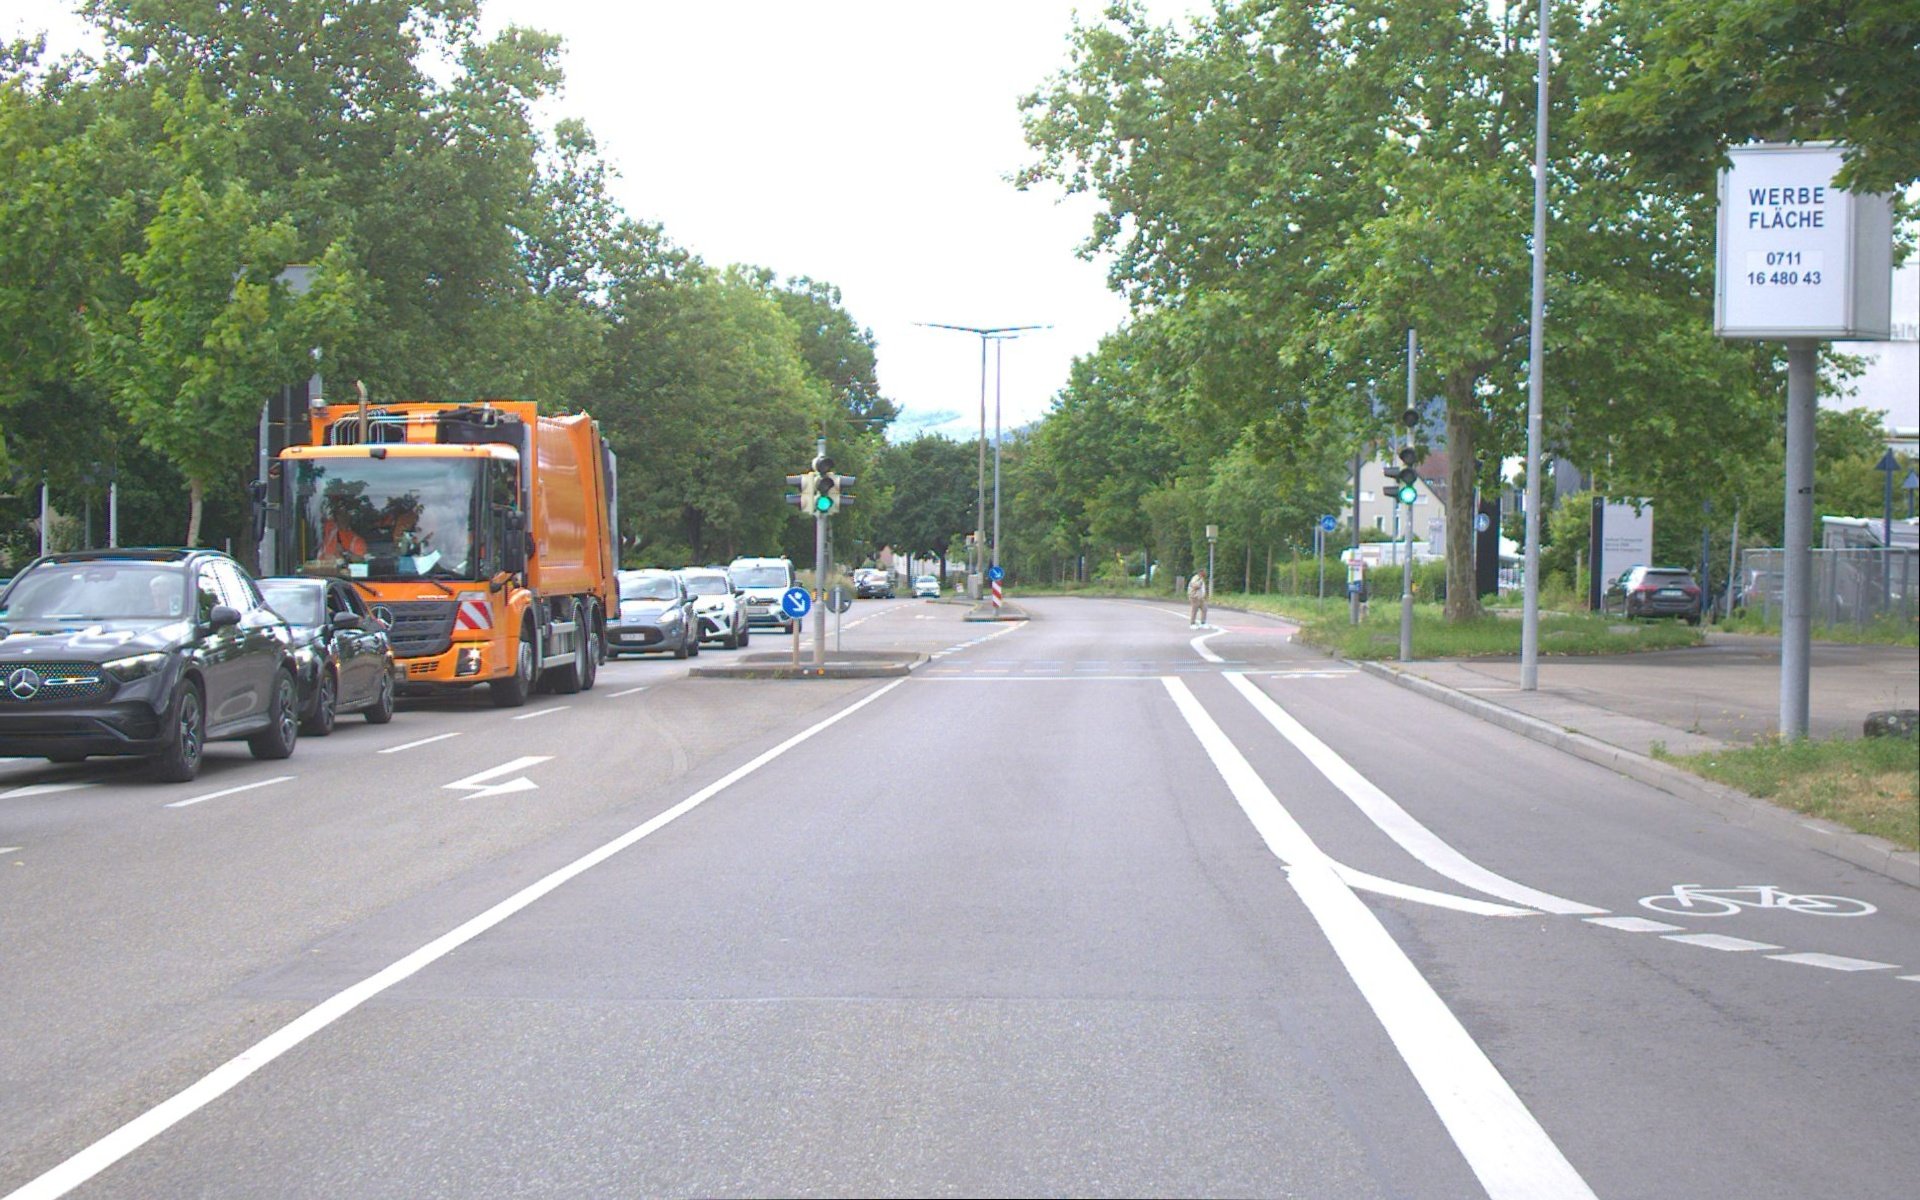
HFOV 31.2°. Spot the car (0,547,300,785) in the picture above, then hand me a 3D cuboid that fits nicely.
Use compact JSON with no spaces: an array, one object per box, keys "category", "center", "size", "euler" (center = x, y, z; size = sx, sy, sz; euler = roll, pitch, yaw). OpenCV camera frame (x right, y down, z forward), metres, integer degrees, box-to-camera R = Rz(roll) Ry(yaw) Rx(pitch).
[{"category":"car","center":[-6.114,0.414,25.276],"size":[1.639,1.580,4.060],"euler":[1,1,1]}]

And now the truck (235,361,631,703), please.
[{"category":"truck","center":[-5.888,-0.781,40.284],"size":[2.706,3.475,9.994],"euler":[1,1,2]}]

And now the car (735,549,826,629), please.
[{"category":"car","center":[-4.247,-0.276,81.879],"size":[1.846,1.797,4.650],"euler":[-1,1,1]}]

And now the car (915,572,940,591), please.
[{"category":"car","center":[-2.299,-1.318,245.099],"size":[1.612,1.300,4.000],"euler":[1,0,2]}]

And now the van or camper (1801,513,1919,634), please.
[{"category":"van or camper","center":[22.744,-0.667,85.401],"size":[1.965,2.858,6.920],"euler":[0,1,0]}]

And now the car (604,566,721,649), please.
[{"category":"car","center":[-4.996,0.103,58.018],"size":[1.547,1.326,3.654],"euler":[-1,1,1]}]

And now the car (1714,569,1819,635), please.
[{"category":"car","center":[19.944,0.032,85.172],"size":[1.711,1.503,4.344],"euler":[2,1,3]}]

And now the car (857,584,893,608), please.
[{"category":"car","center":[-4.745,-0.216,192.076],"size":[1.772,1.300,4.000],"euler":[1,0,2]}]

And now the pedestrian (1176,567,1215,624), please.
[{"category":"pedestrian","center":[6.072,-0.110,88.651],"size":[0.788,1.458,0.749],"euler":[0,0,-17]}]

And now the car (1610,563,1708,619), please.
[{"category":"car","center":[17.290,-0.246,85.185],"size":[1.711,1.349,4.344],"euler":[0,1,3]}]

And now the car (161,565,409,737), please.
[{"category":"car","center":[-6.182,0.425,31.835],"size":[1.434,1.452,3.895],"euler":[1,1,1]}]

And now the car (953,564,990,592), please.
[{"category":"car","center":[0.561,-1.031,162.533],"size":[1.612,1.300,4.000],"euler":[1,0,2]}]

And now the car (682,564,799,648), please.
[{"category":"car","center":[-4.177,0.083,66.097],"size":[1.846,1.515,4.815],"euler":[-1,1,1]}]
